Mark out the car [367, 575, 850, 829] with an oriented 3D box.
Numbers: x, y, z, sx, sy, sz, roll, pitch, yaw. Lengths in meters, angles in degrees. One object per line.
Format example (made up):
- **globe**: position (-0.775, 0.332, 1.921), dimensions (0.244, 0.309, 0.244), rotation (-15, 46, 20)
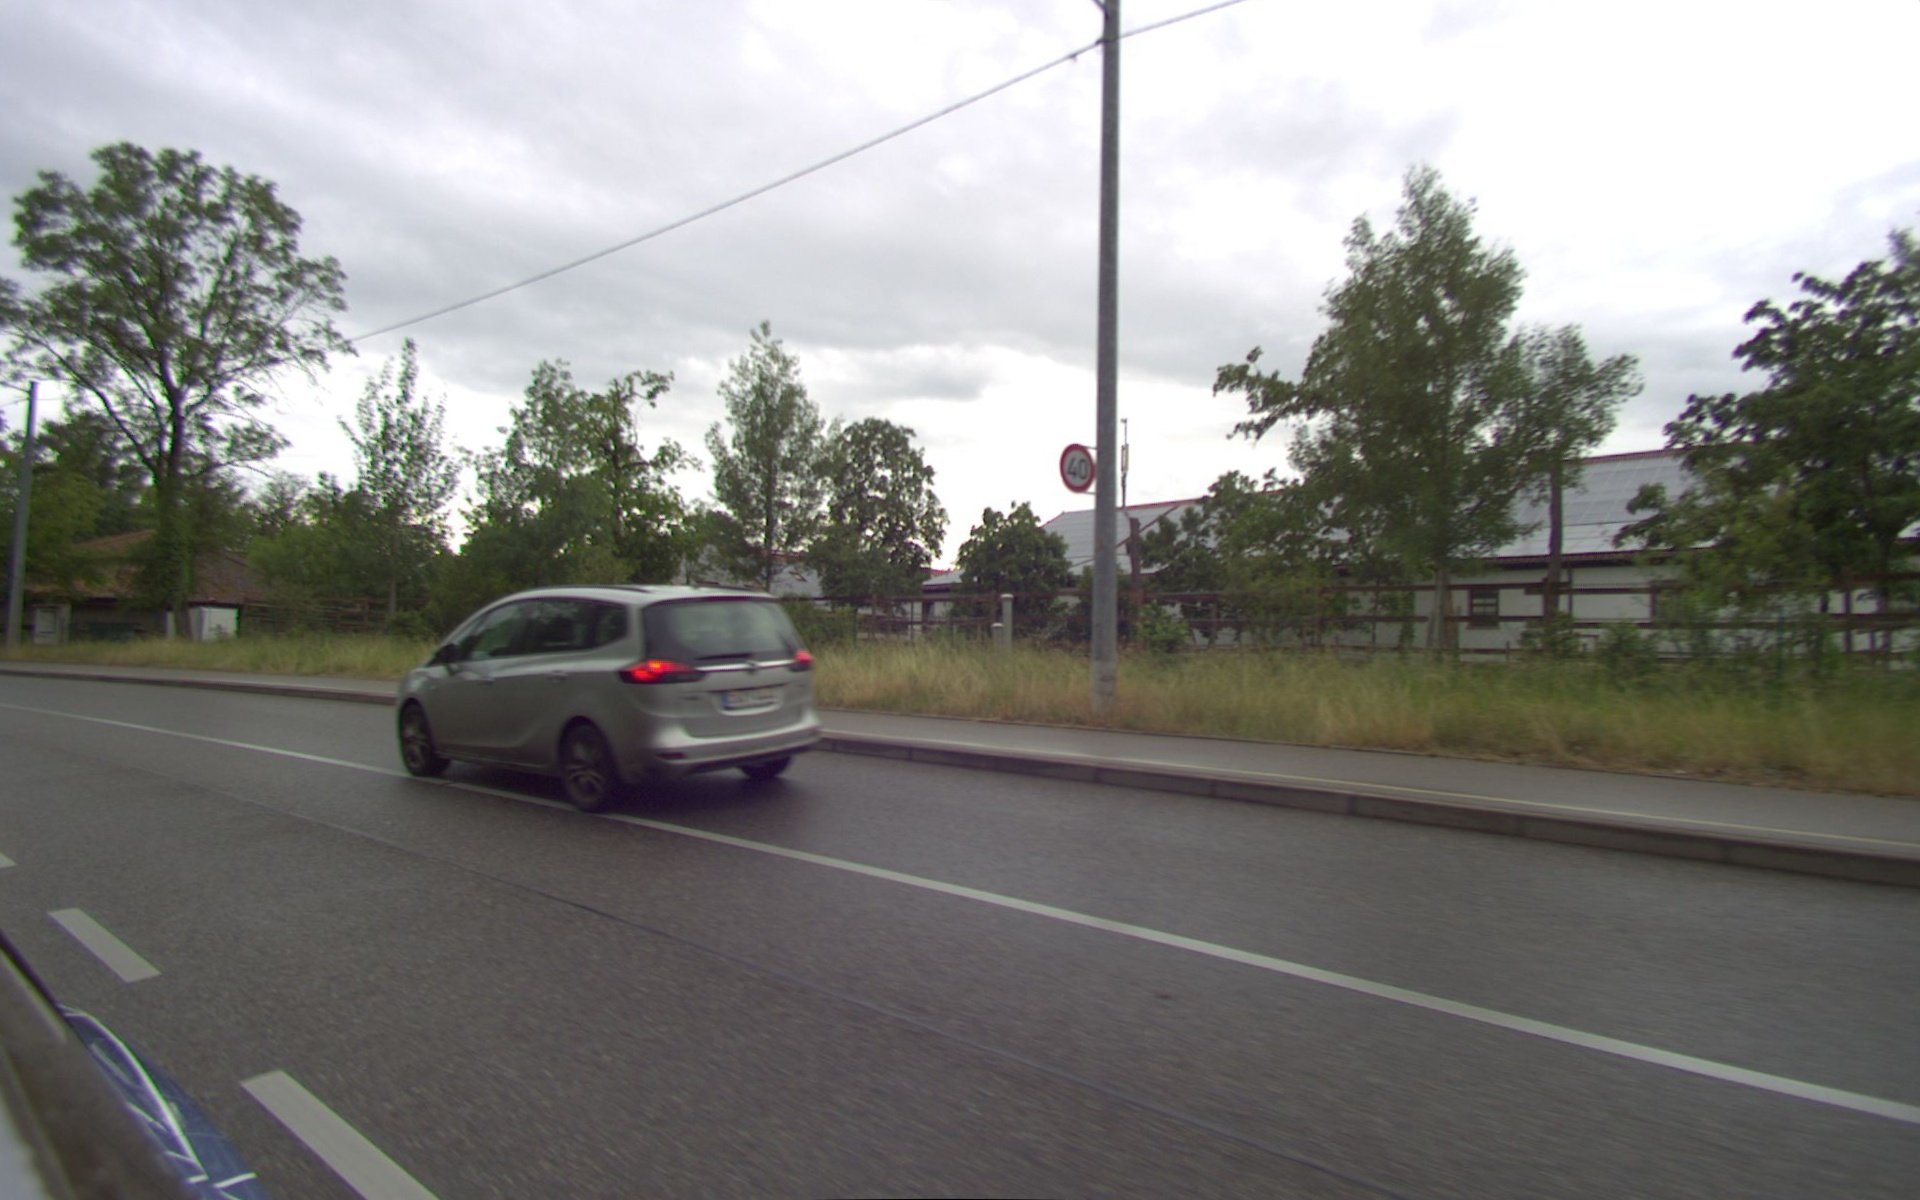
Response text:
- **car**: position (-3.129, 0.681, 8.541), dimensions (4.412, 1.627, 1.742), rotation (-1, -1, 38)
